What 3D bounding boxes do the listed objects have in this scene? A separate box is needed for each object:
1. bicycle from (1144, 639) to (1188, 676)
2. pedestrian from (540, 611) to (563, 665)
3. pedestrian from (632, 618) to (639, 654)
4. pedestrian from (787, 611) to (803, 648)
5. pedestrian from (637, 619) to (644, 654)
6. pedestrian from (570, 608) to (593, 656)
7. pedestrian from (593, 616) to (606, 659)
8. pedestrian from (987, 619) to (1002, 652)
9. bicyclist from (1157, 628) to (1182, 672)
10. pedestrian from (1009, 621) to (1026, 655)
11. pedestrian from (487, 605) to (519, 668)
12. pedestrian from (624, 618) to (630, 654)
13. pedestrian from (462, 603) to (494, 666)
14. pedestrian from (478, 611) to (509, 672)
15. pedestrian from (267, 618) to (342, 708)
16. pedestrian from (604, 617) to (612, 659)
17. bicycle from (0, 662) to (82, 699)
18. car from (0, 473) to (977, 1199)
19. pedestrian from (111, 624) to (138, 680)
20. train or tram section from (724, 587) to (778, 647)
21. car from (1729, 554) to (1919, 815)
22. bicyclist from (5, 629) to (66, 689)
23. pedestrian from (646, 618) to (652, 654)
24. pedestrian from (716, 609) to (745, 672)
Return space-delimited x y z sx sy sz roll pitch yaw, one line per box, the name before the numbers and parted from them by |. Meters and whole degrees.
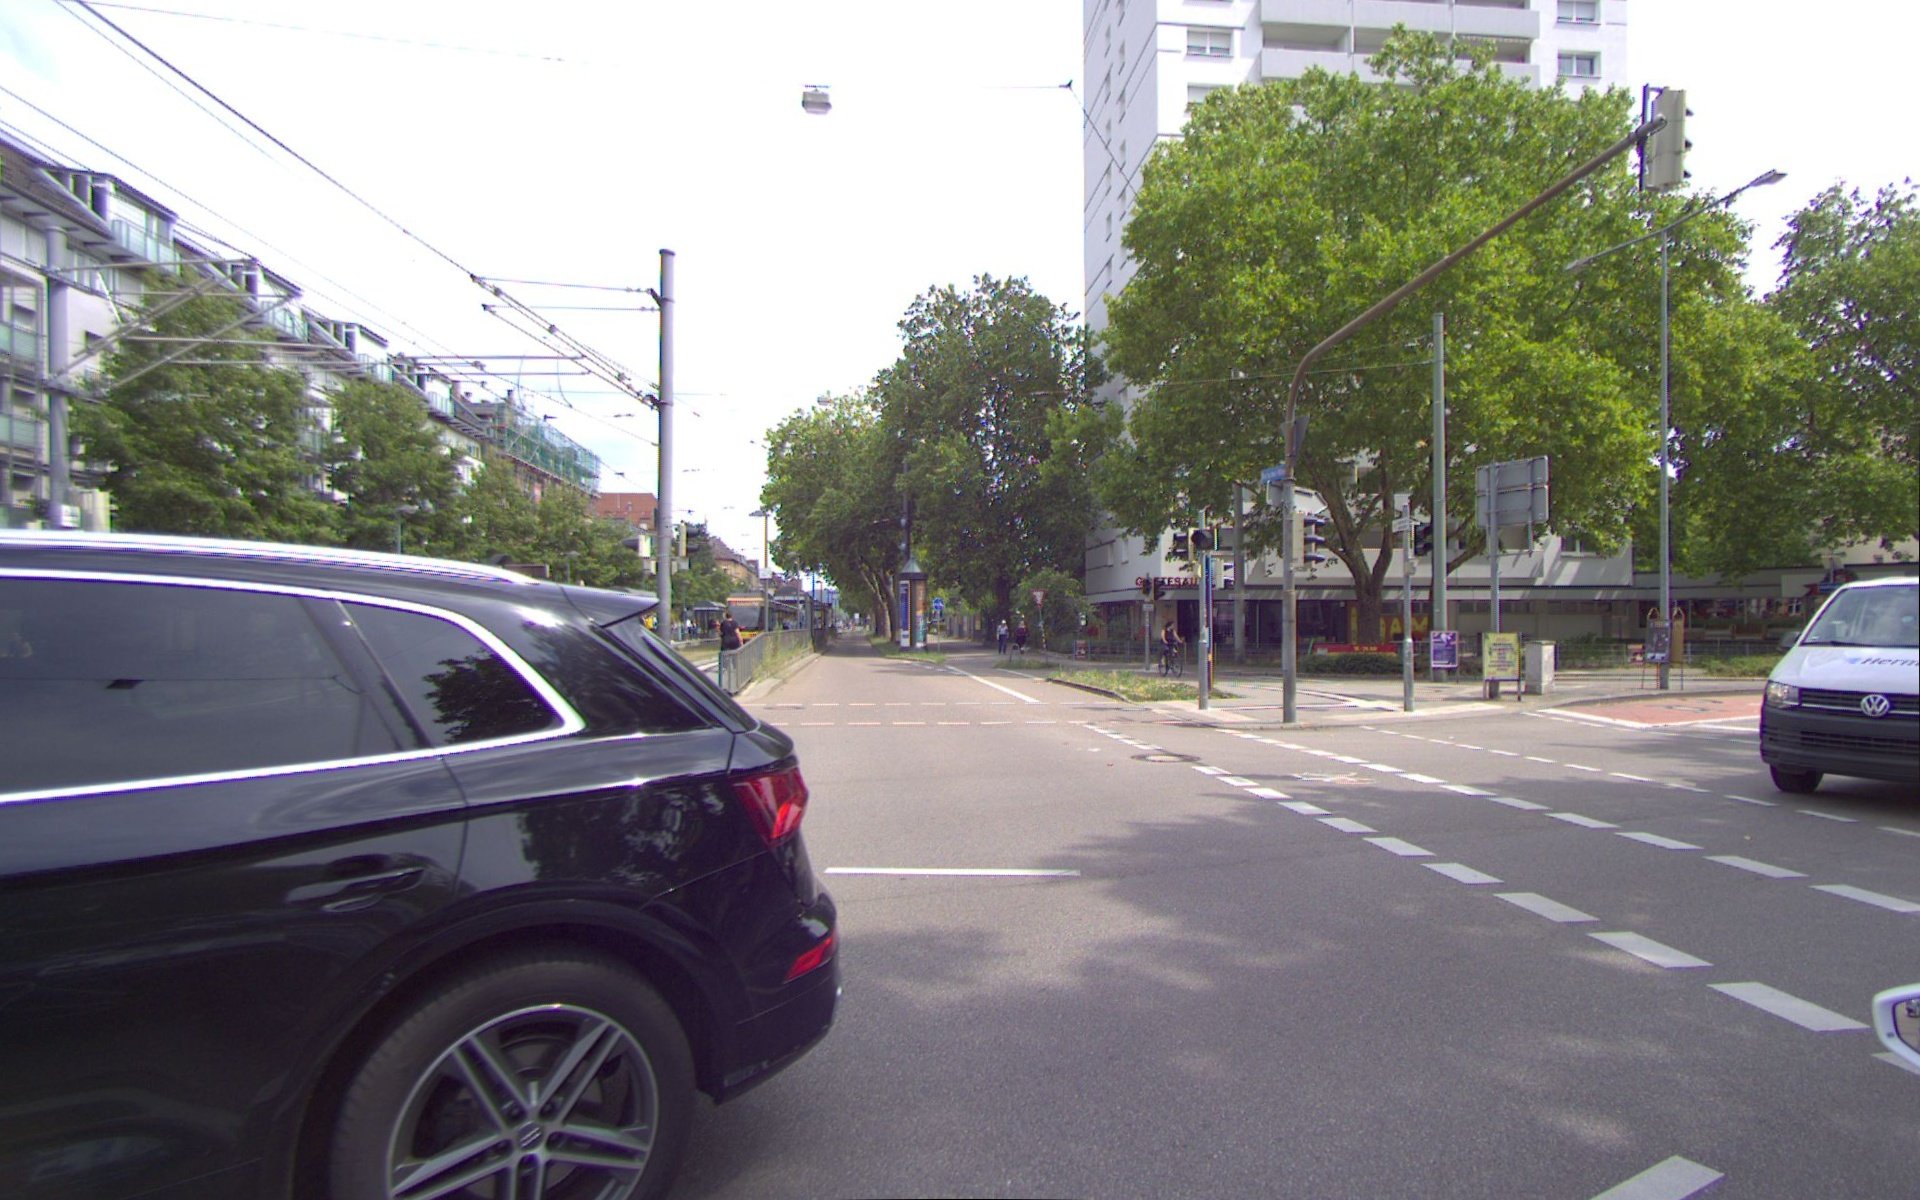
bicycle | 6.470 1.811 31.586 0.616 1.108 1.967 0 -3 -11
pedestrian | -17.763 1.646 43.681 0.746 2.280 0.757 0 -1 -6
pedestrian | -17.815 1.979 55.155 0.320 1.980 0.311 0 -1 -16
pedestrian | -9.253 1.641 56.456 0.837 2.040 0.872 0 -1 -7
pedestrian | -17.314 1.989 54.403 0.320 1.908 0.311 0 -1 -16
pedestrian | -16.485 1.391 43.773 0.746 2.040 0.757 0 -1 -6
pedestrian | -17.364 1.803 48.404 0.492 2.040 0.369 0 -1 -7
pedestrian | 1.738 1.787 50.746 0.684 1.645 0.505 0 -1 -9
bicyclist | 6.540 1.566 31.363 0.483 1.359 0.751 0 -4 -10
pedestrian | 2.880 1.892 50.292 0.684 1.657 0.683 0 -1 -9
pedestrian | -14.981 1.189 32.933 0.746 2.040 0.757 0 -1 -6
pedestrian | -18.214 1.960 54.973 0.320 1.980 0.311 0 -1 -16
pedestrian | -15.985 1.134 33.319 0.746 2.040 0.757 0 -1 -6
pedestrian | -16.025 1.419 34.500 0.746 2.040 0.757 0 -1 -6
pedestrian | -11.856 1.116 18.187 0.851 1.572 0.838 0 -1 -7
pedestrian | -17.005 1.823 48.506 0.282 2.040 0.354 0 -1 -7
bicycle | -23.084 2.000 25.205 0.640 0.826 1.789 0 -1 -6
car | -2.282 0.631 2.266 4.377 1.669 1.813 1 -1 -31
pedestrian | -26.042 1.610 31.318 0.514 1.745 0.560 -1 -1 37
train or tram section | -12.583 1.163 61.000 2.322 3.358 7.513 0 -3 -5
car | 9.156 0.659 9.062 4.891 1.962 1.914 1 -1 -31
bicyclist | -23.070 1.462 25.090 0.629 1.463 1.000 0 -1 -6
pedestrian | -16.929 1.956 54.650 0.320 1.980 0.311 0 -1 -16
pedestrian | -5.885 1.033 25.801 0.657 1.572 0.598 0 -1 -7
